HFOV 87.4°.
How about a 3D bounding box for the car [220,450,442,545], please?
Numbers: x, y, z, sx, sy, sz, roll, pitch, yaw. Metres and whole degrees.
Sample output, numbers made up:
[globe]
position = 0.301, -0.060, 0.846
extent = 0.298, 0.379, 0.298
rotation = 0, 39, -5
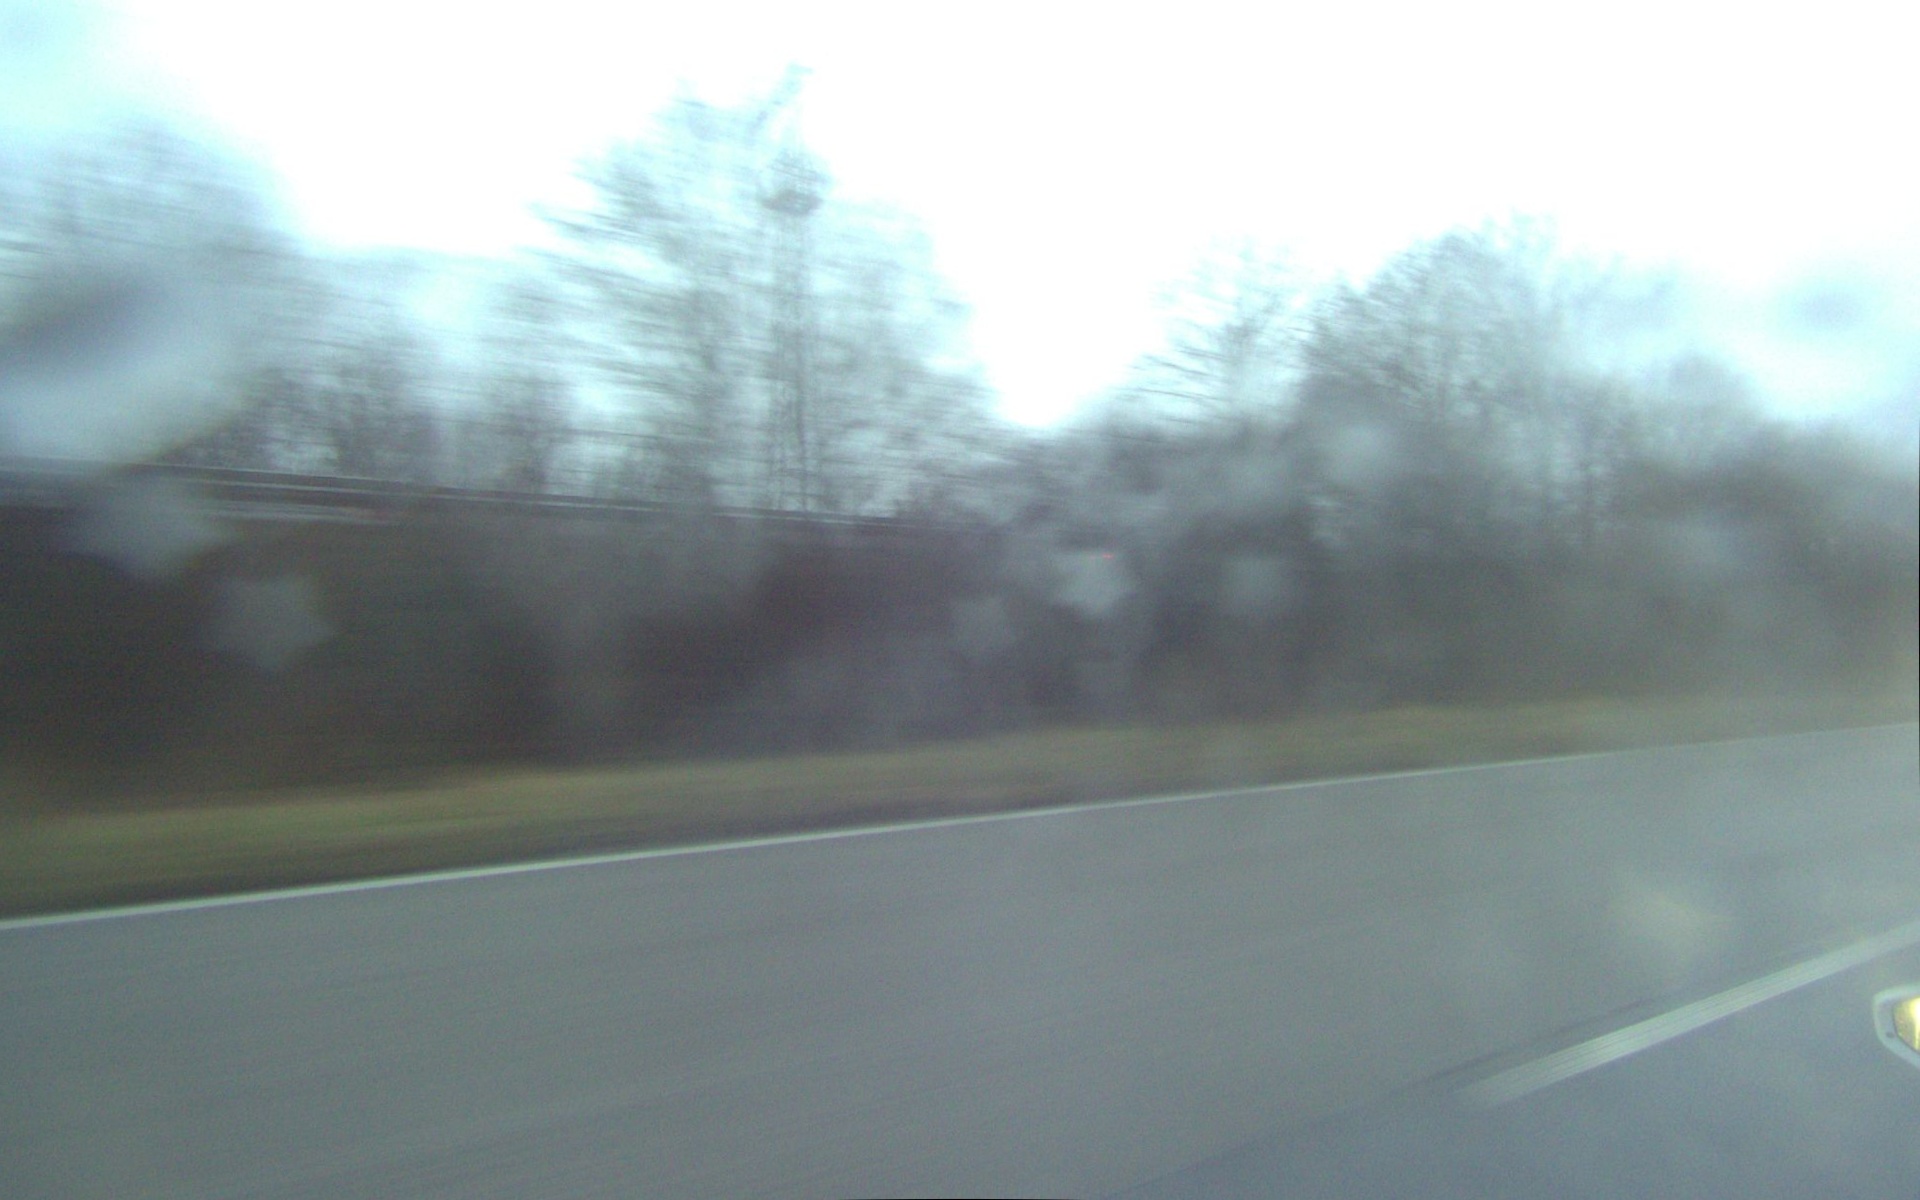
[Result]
[car]
position = -13.522, -2.134, 21.808
extent = 3.899, 1.656, 1.775
rotation = 2, 1, -32
